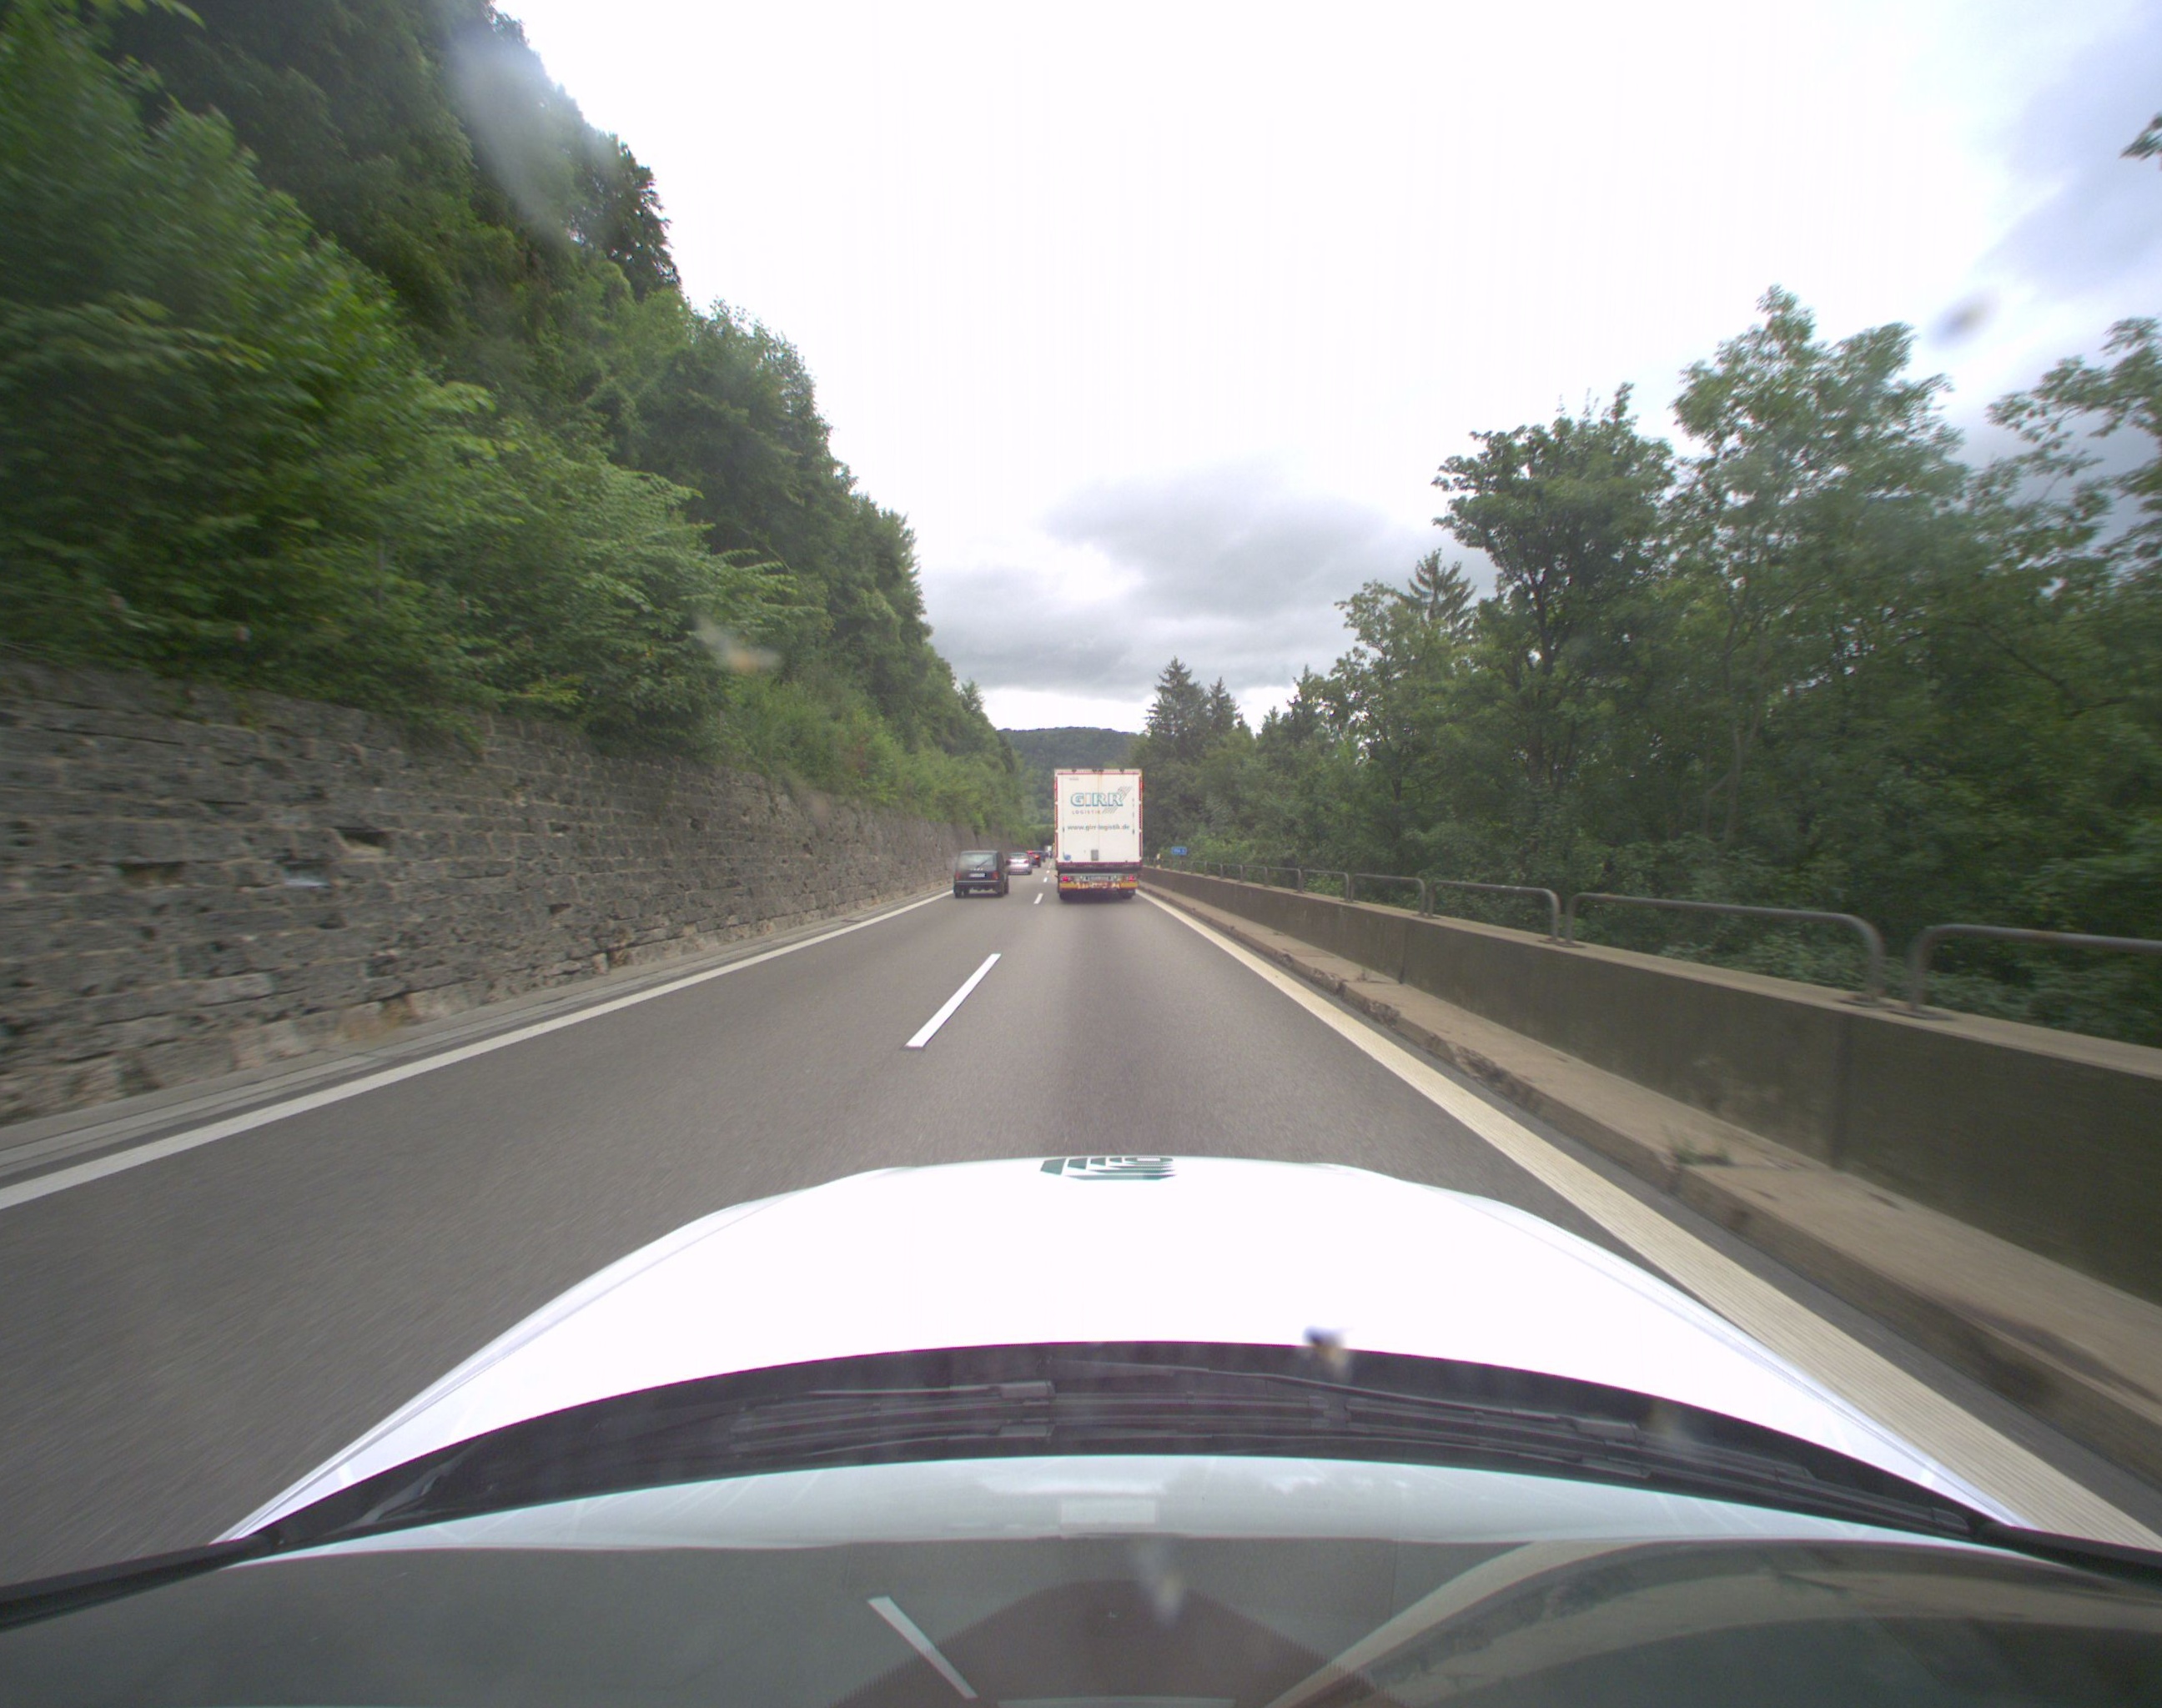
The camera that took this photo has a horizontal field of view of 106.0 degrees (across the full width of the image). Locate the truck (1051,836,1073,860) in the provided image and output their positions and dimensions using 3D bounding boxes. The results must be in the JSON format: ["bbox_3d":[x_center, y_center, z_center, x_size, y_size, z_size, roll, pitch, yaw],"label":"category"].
[{"bbox_3d":[-3.253,-0.947,142.696,3.499,3.847,11.776,0,-1,1],"label":"truck"}]

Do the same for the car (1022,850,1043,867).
[{"bbox_3d":[-4.720,0.413,79.144,1.912,1.595,4.176,0,0,-2],"label":"car"}]

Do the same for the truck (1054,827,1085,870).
[{"bbox_3d":[-1.123,-0.435,72.568,2.480,3.571,9.300,0,0,-2],"label":"truck"}]

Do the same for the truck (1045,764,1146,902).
[{"bbox_3d":[0.534,-0.597,28.092,2.898,3.960,9.281,0,0,1],"label":"truck"}]

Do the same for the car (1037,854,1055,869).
[{"bbox_3d":[-4.967,1.097,116.939,1.983,2.014,4.007,0,-1,6],"label":"car"}]

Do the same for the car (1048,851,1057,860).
[{"bbox_3d":[-6.523,0.409,185.354,1.987,2.014,3.999,0,-1,0],"label":"car"}]

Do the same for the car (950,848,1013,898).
[{"bbox_3d":[-3.453,0.638,28.966,1.663,1.639,4.068,0,0,1],"label":"car"}]

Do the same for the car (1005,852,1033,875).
[{"bbox_3d":[-4.199,0.627,55.507,1.724,1.486,3.997,0,0,-2],"label":"car"}]
